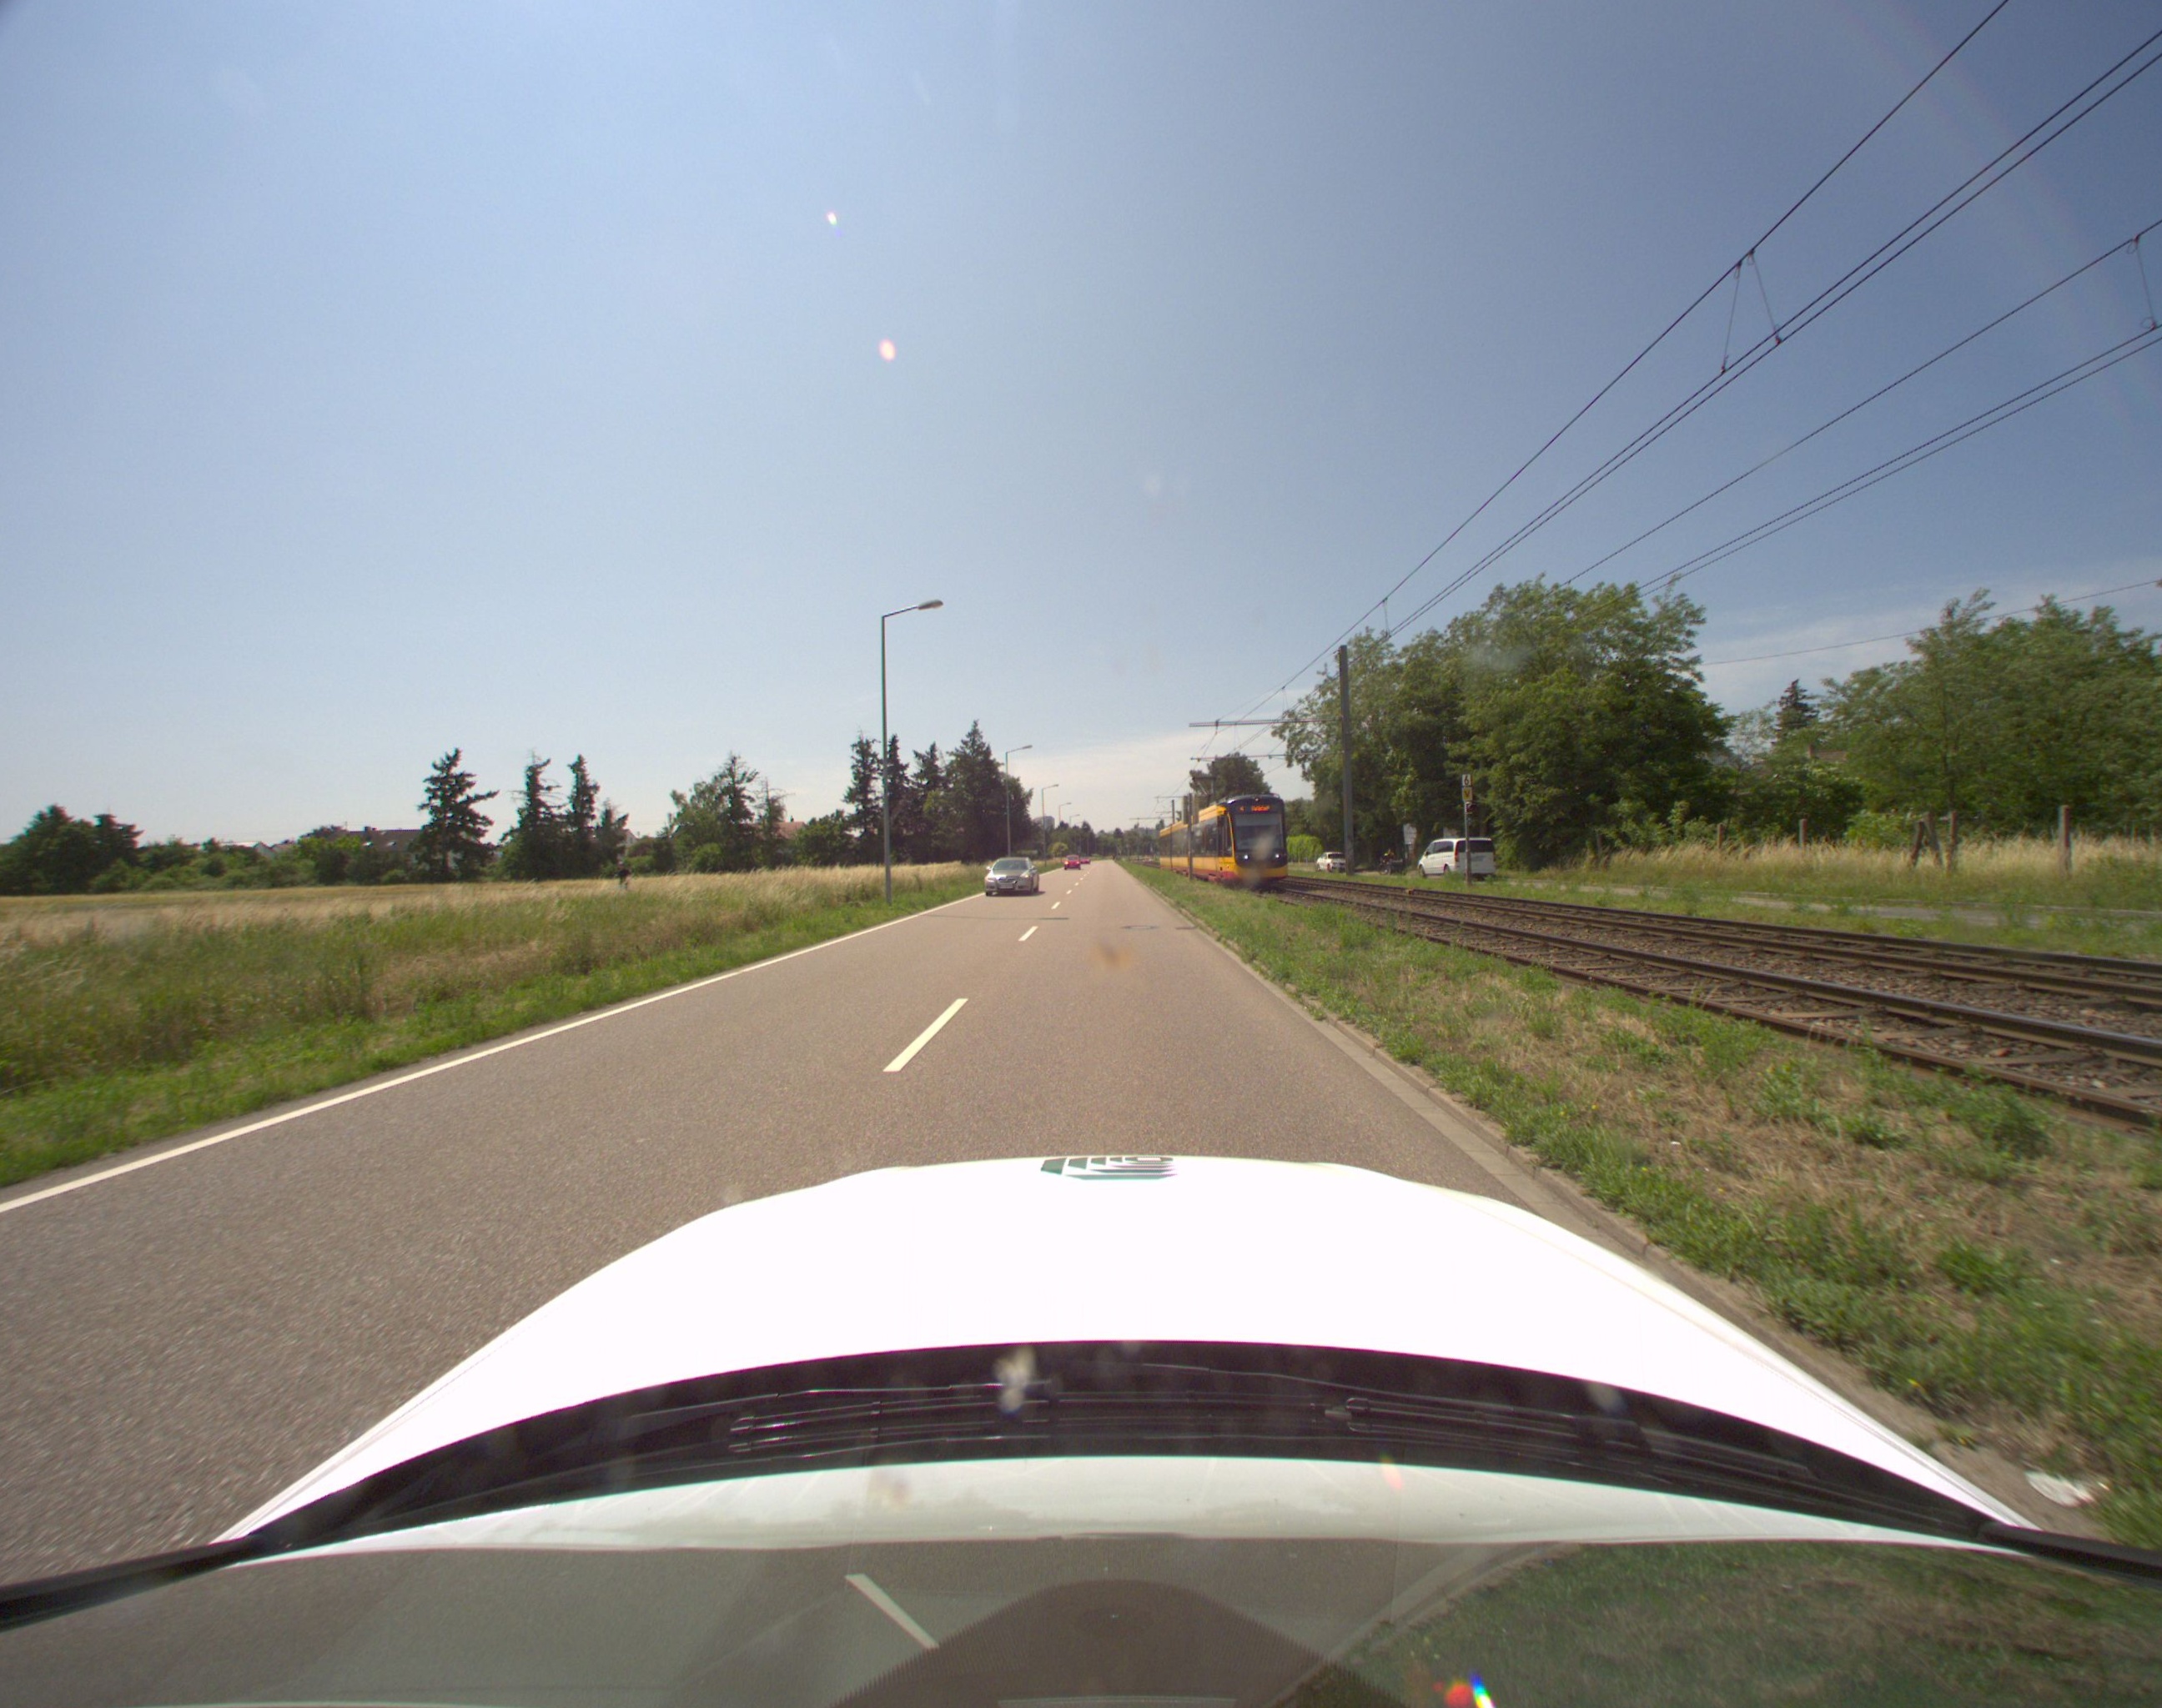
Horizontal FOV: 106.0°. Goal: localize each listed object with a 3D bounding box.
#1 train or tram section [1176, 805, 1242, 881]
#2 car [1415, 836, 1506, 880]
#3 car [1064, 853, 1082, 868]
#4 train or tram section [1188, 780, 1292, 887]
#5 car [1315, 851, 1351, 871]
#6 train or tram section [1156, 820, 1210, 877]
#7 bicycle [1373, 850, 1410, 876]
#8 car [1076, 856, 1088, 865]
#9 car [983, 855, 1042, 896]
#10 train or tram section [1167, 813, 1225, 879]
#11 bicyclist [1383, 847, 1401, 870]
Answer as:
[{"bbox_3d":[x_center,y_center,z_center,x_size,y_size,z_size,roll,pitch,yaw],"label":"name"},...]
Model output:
[{"bbox_3d":[6.783,-0.501,44.108,2.551,3.714,6.731,-2,-1,2],"label":"train or tram section"},{"bbox_3d":[17.262,0.215,37.354,1.986,1.802,4.796,-2,-1,2],"label":"car"},{"bbox_3d":[-0.804,0.712,83.814,1.639,1.400,3.845,-2,-1,2],"label":"car"},{"bbox_3d":[6.439,-0.631,34.904,2.420,3.766,11.562,-2,-1,2],"label":"train or tram section"},{"bbox_3d":[17.529,0.527,56.771,1.423,1.308,3.467,-2,-1,2],"label":"car"},{"bbox_3d":[7.313,-0.285,59.863,2.755,3.689,11.189,-2,-1,2],"label":"train or tram section"},{"bbox_3d":[18.326,0.550,48.145,0.924,1.430,3.386,-2,-1,2],"label":"bicycle"},{"bbox_3d":[0.230,1.103,131.277,1.801,1.286,4.287,-2,-1,2],"label":"car"},{"bbox_3d":[-2.689,0.867,32.911,1.827,1.467,4.679,-2,-1,2],"label":"car"},{"bbox_3d":[7.048,-0.415,50.868,2.691,3.766,6.731,-2,-1,1],"label":"train or tram section"},{"bbox_3d":[18.350,0.272,48.038,0.699,1.338,0.904,-2,-1,1],"label":"bicyclist"}]
